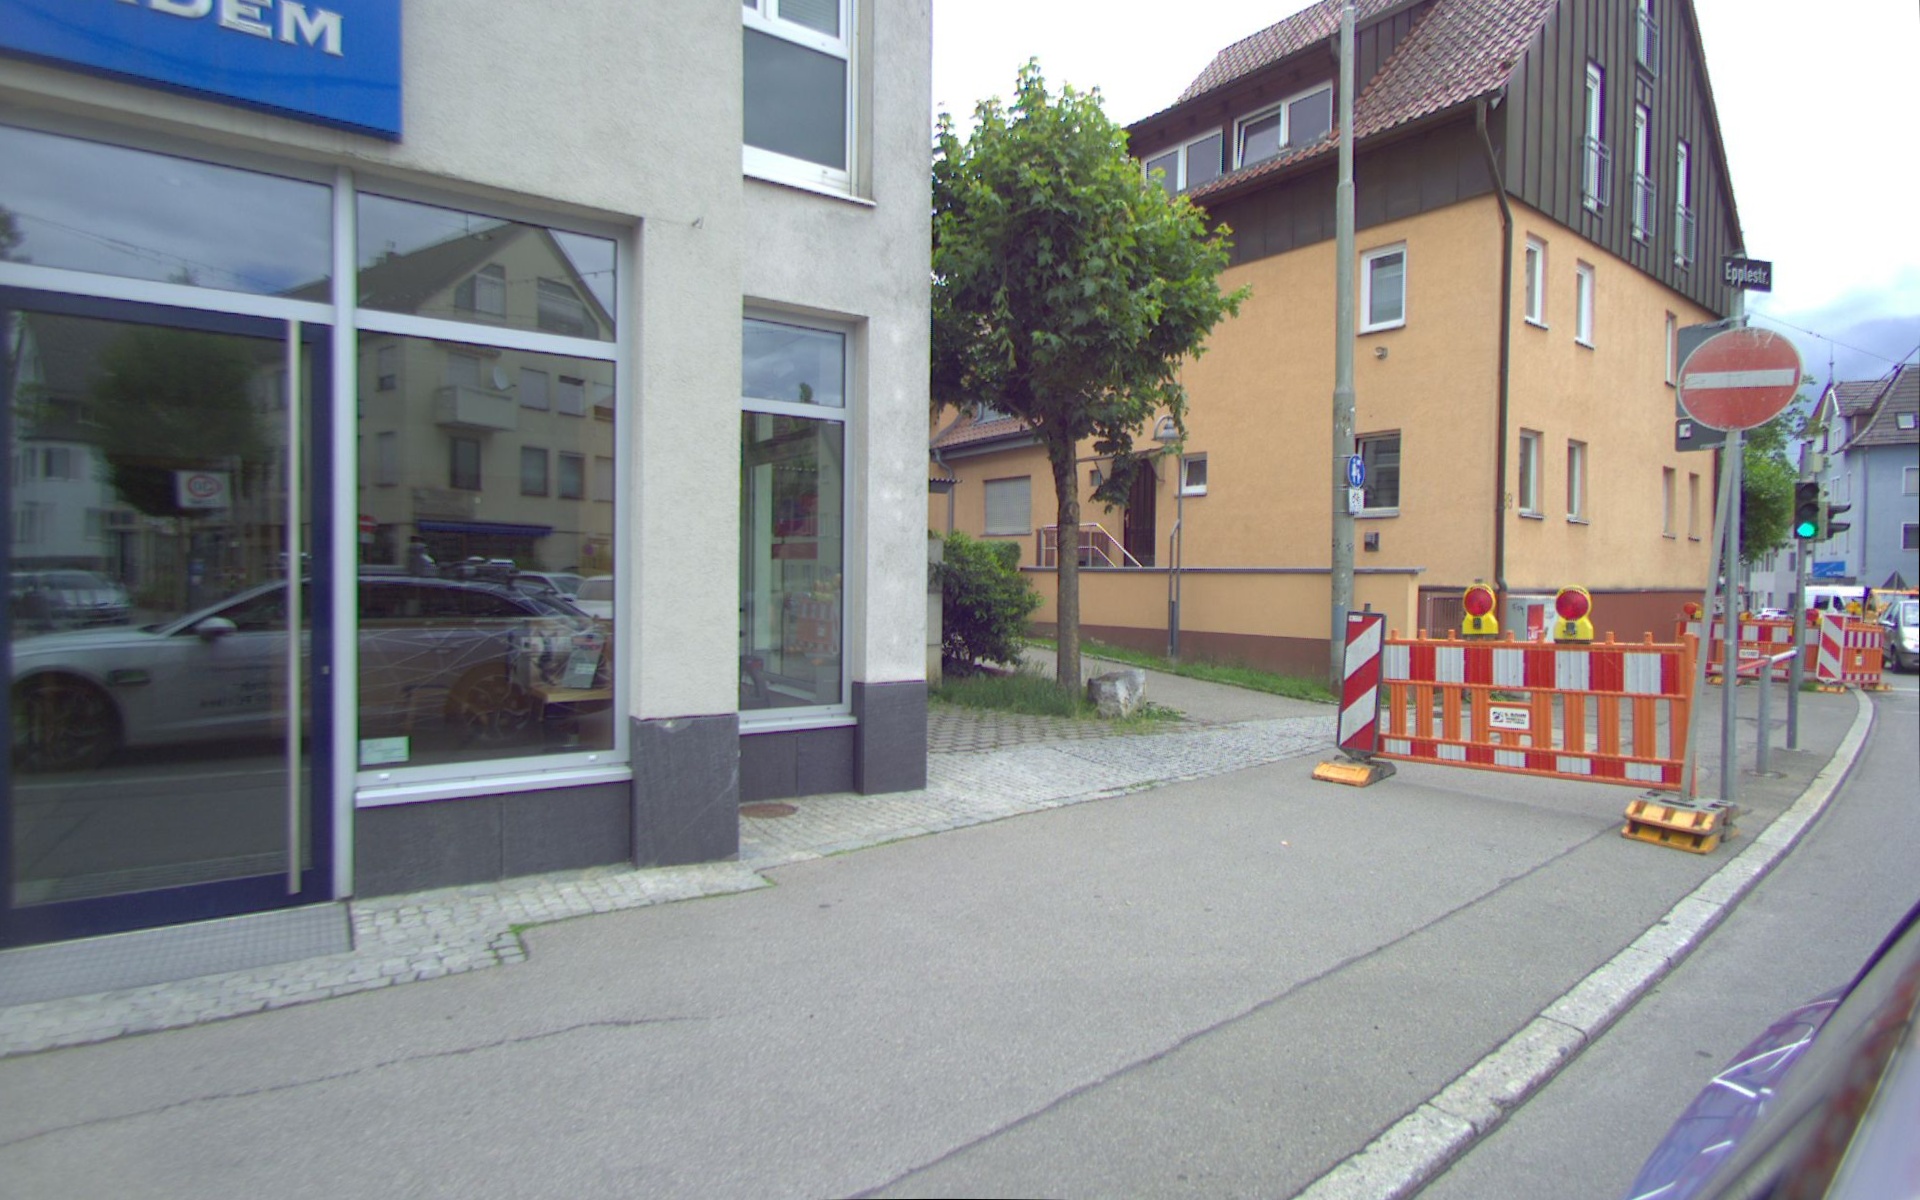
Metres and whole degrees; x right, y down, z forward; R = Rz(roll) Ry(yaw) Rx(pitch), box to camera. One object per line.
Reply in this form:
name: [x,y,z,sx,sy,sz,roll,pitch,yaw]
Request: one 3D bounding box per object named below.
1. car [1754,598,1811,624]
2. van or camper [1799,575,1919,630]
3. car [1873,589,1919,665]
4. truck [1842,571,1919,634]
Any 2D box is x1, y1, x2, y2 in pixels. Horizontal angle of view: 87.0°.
car: [50.009,0.664,61.607,1.786,1.429,3.963,2,1,26]
van or camper: [46.661,0.101,52.199,2.289,2.640,6.191,2,1,9]
car: [21.712,0.613,22.282,1.848,1.576,4.296,3,1,36]
truck: [39.882,0.136,42.927,2.401,2.496,6.241,2,1,29]
